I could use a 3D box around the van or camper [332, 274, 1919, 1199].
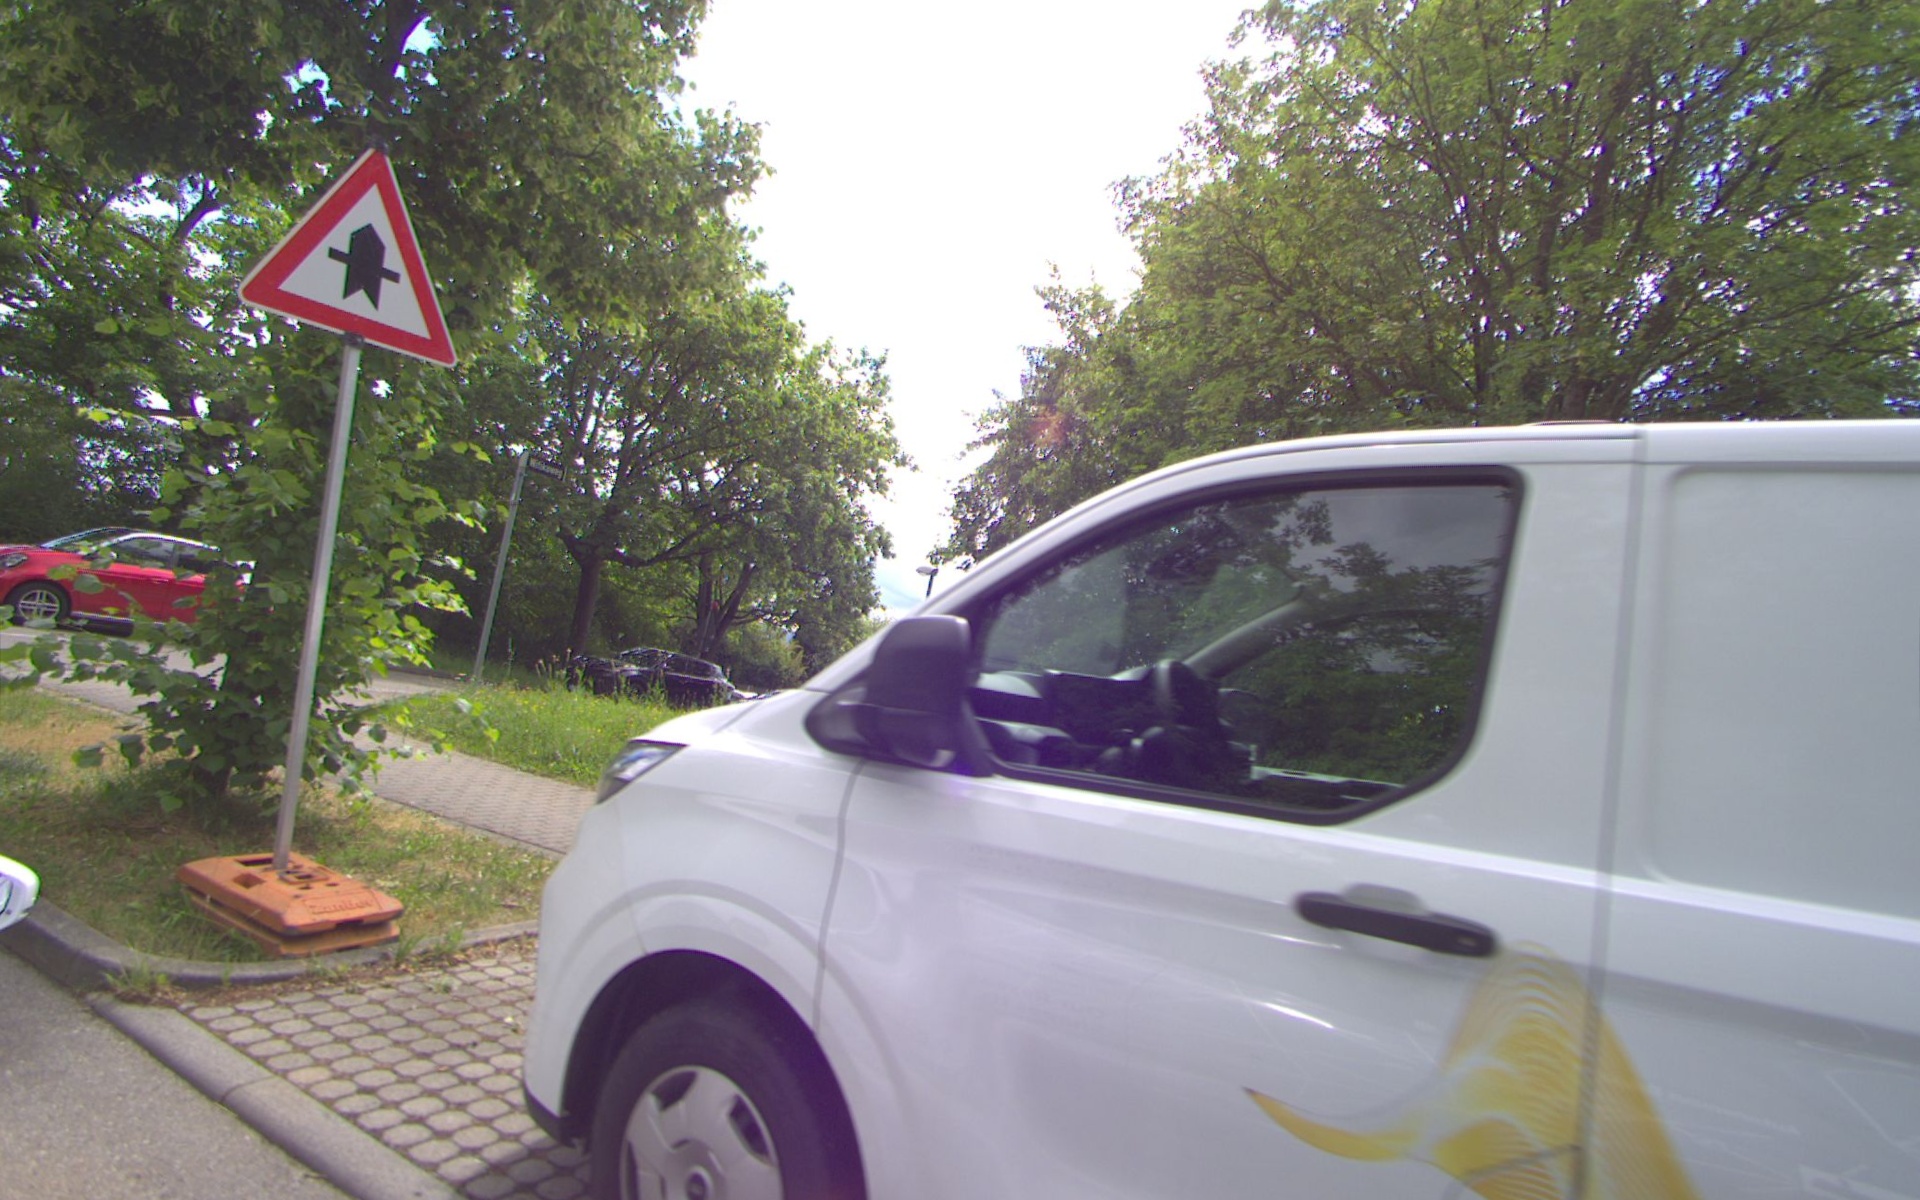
[{"bbox_3d":[1.418,0.760,1.850,5.177,1.940,2.000,7,-4,31],"label":"van or camper"}]

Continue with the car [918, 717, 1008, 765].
[{"bbox_3d":[0.145,6.429,45.818,3.544,1.612,1.740,4,-7,31],"label":"car"}]

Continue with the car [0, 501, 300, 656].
[{"bbox_3d":[-12.049,-0.290,14.601,1.753,1.494,3.549,8,-6,34],"label":"car"}]

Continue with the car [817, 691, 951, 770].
[{"bbox_3d":[-2.240,4.046,30.860,1.967,1.607,4.012,7,-10,31],"label":"car"}]

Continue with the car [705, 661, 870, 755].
[{"bbox_3d":[-4.457,2.905,26.598,1.967,1.607,4.012,7,-10,31],"label":"car"}]

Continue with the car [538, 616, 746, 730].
[{"bbox_3d":[-7.065,1.710,22.782,1.967,1.607,4.012,7,-10,31],"label":"car"}]
